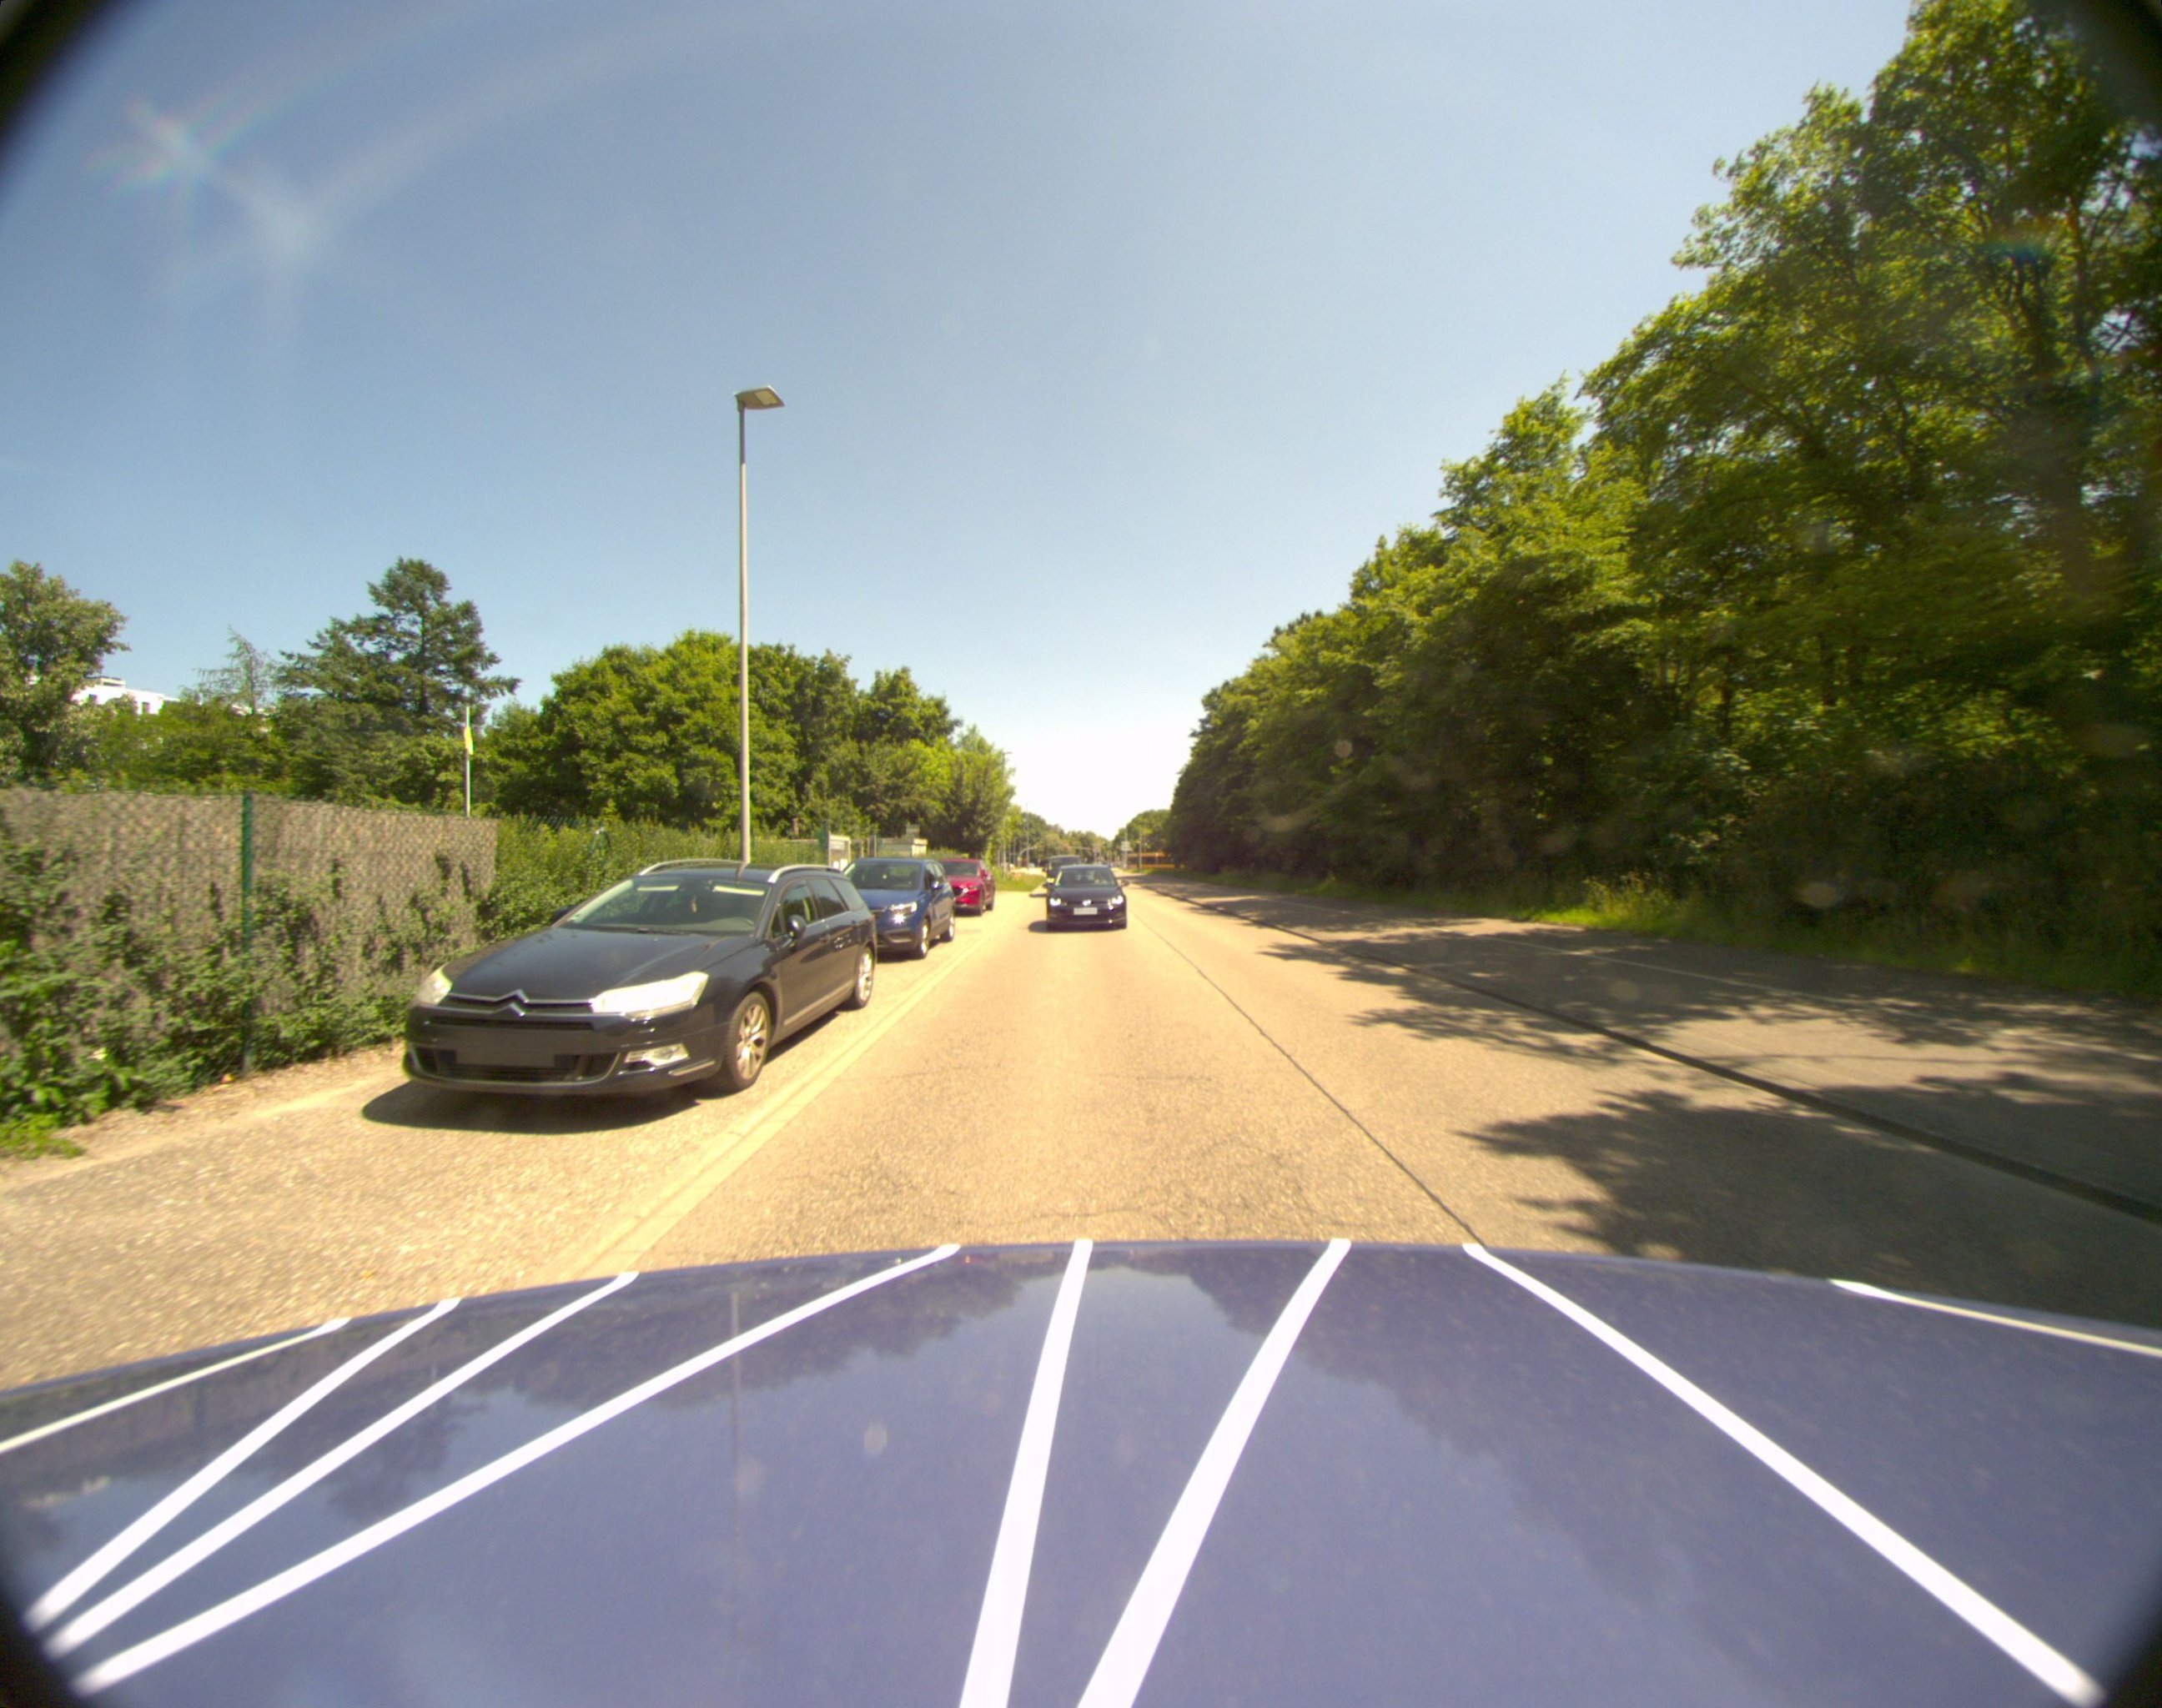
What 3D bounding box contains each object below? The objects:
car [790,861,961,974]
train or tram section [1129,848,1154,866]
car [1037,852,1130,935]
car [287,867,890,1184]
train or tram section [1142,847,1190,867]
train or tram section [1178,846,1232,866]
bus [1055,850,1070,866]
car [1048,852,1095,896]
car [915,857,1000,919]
[{"bbox_3d":[-3.246,0.932,12.853,1.794,1.594,4.130,0,-1,0],"label":"car"},{"bbox_3d":[12.249,0.707,154.743,2.579,3.445,10.846,-1,0,-9],"label":"train or tram section"},{"bbox_3d":[0.077,0.842,18.224,1.887,1.667,4.662,-2,0,0],"label":"car"},{"bbox_3d":[-3.061,0.904,6.153,1.794,1.473,4.665,2,0,0],"label":"car"},{"bbox_3d":[16.069,0.594,145.114,2.656,3.445,10.828,-1,0,-34],"label":"train or tram section"},{"bbox_3d":[22.585,0.369,138.766,9.327,3.445,2.788,-2,0,31],"label":"train or tram section"},{"bbox_3d":[-3.933,0.937,161.871,2.932,3.248,8.328,-2,0,-2],"label":"bus"},{"bbox_3d":[-0.551,0.931,37.320,2.002,1.965,4.449,-2,0,-4],"label":"car"},{"bbox_3d":[-3.611,0.942,23.000,1.794,1.648,4.452,2,0,0],"label":"car"}]
